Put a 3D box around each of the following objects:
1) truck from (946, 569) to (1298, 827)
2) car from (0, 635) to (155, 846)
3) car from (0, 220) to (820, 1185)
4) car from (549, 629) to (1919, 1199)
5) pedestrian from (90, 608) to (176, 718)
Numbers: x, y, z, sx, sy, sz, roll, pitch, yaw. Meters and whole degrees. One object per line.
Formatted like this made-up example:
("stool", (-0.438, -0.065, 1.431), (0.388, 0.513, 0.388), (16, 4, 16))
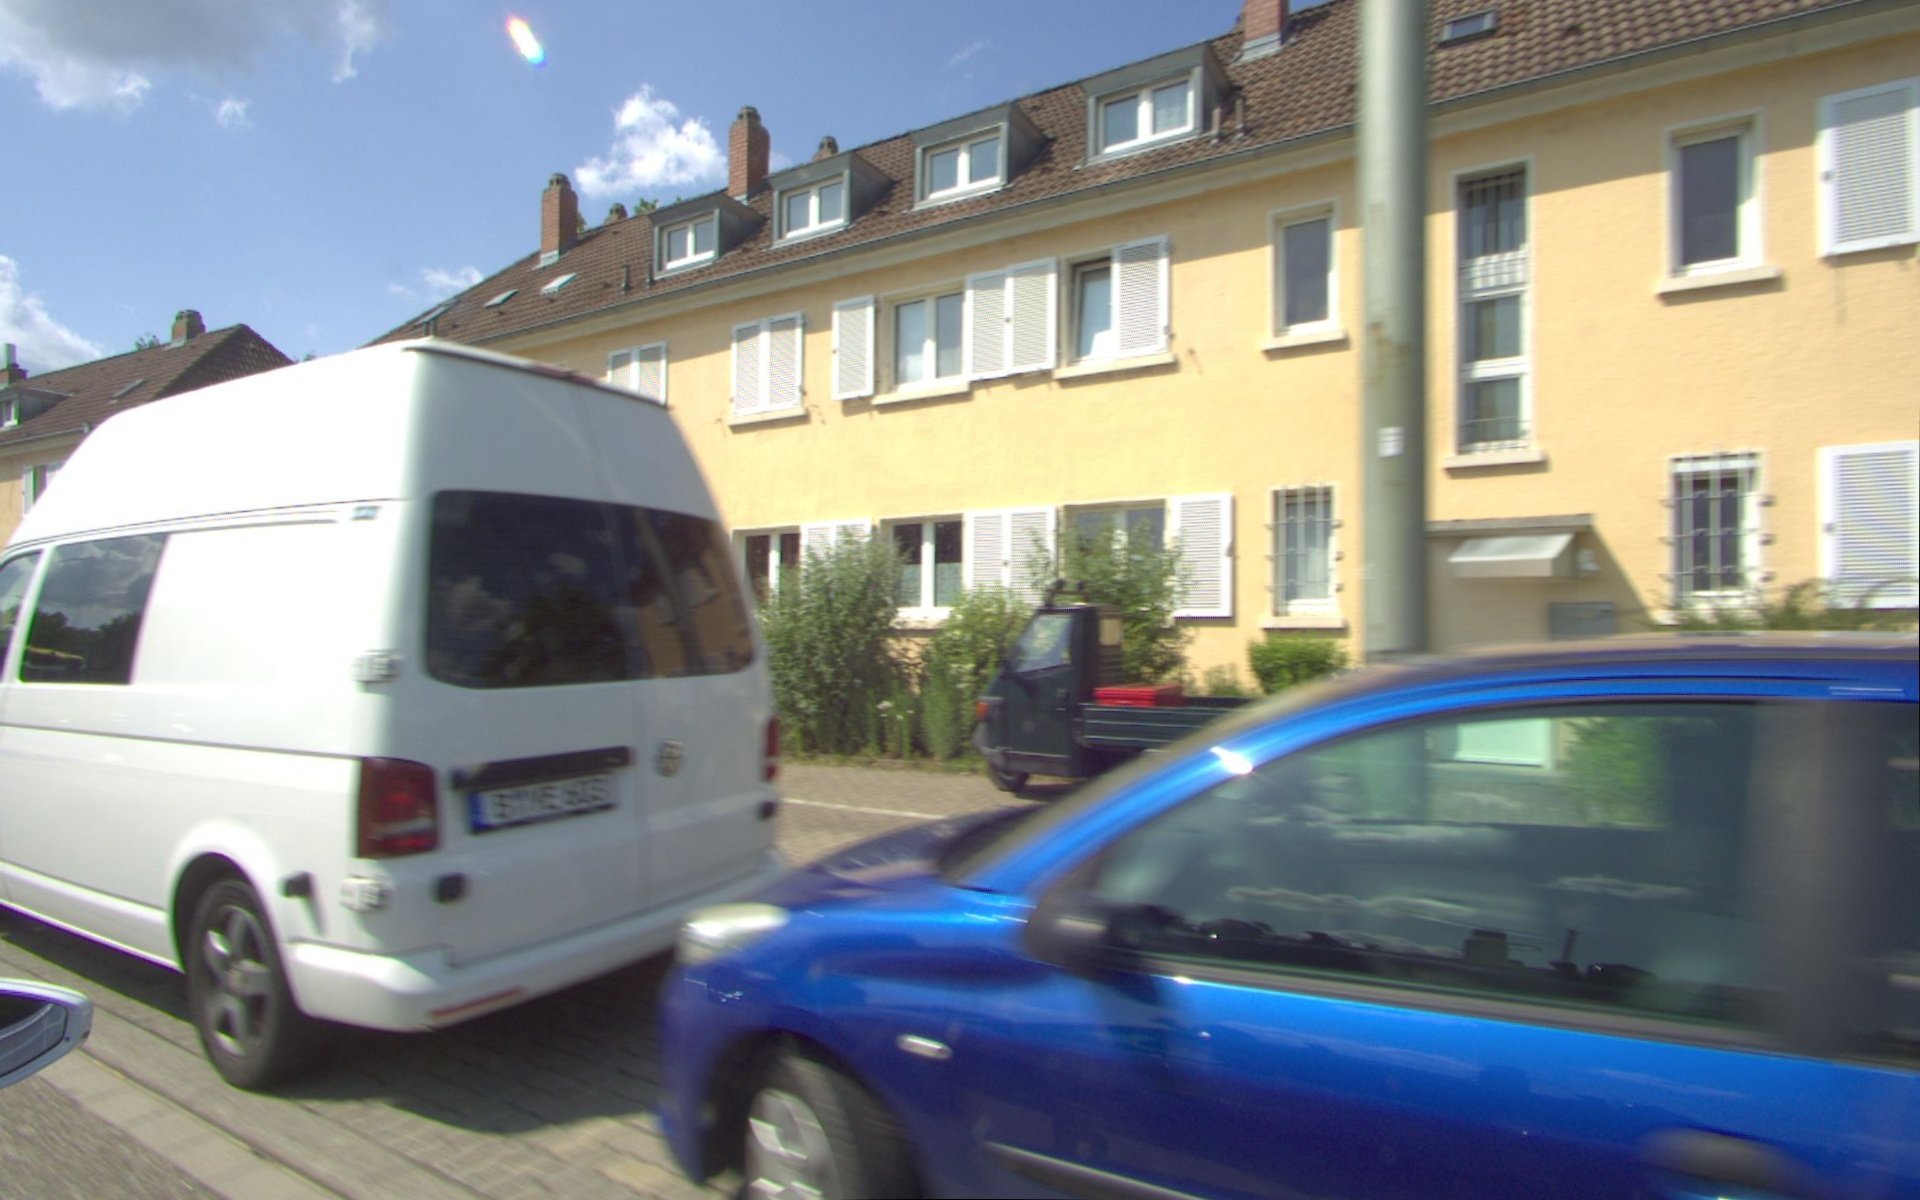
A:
("truck", (1.260, 0.697, 7.856), (2.406, 1.710, 1.344), (-1, -2, 32))
("car", (-7.535, 0.945, 7.343), (3.237, 1.357, 1.341), (-1, -3, 28))
("car", (-3.402, 0.325, 4.868), (5.437, 2.513, 1.926), (-1, -1, 32))
("car", (1.017, 0.813, 1.957), (3.684, 1.463, 1.534), (-1, -3, 33))
("pedestrian", (-12.997, 0.984, 15.750), (0.628, 1.673, 0.852), (0, -2, 33))
